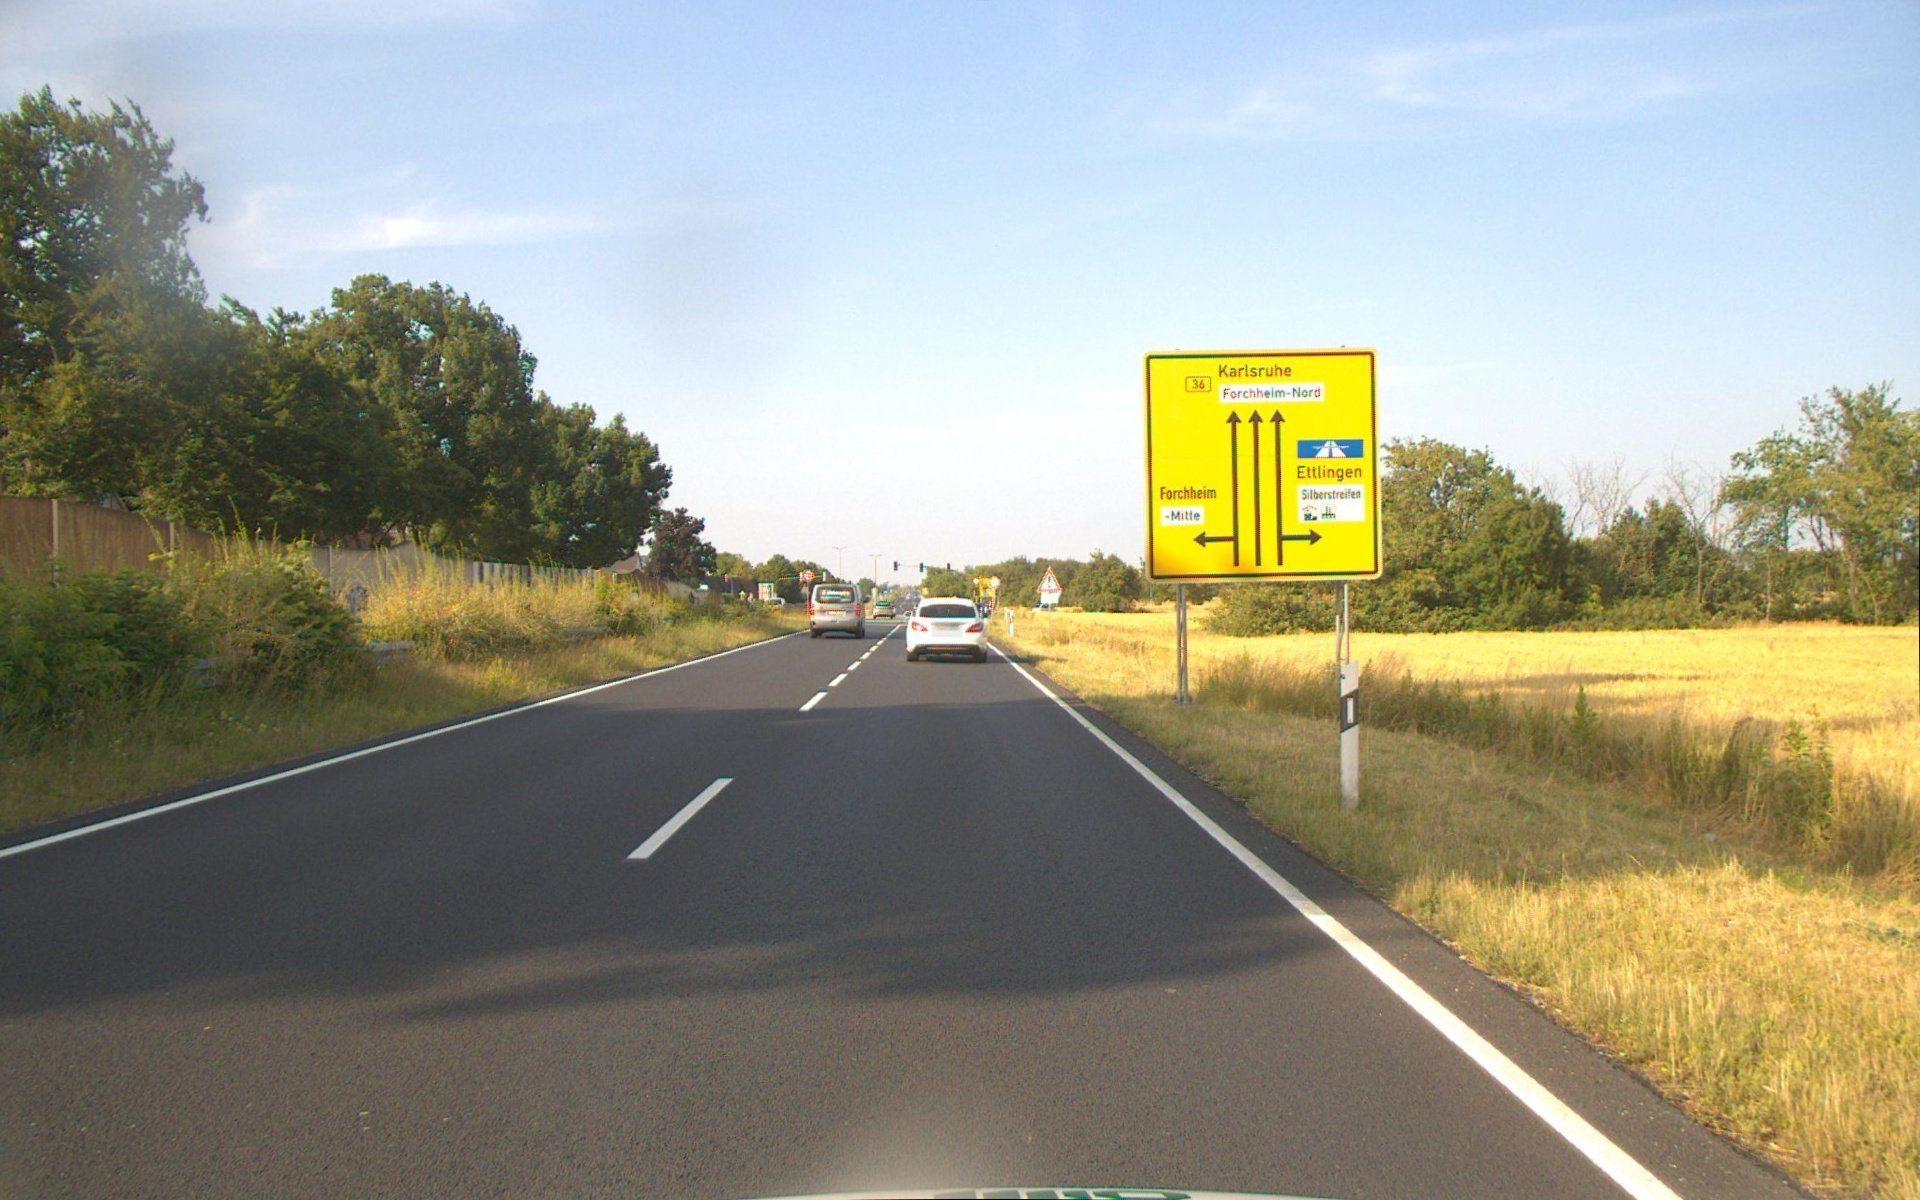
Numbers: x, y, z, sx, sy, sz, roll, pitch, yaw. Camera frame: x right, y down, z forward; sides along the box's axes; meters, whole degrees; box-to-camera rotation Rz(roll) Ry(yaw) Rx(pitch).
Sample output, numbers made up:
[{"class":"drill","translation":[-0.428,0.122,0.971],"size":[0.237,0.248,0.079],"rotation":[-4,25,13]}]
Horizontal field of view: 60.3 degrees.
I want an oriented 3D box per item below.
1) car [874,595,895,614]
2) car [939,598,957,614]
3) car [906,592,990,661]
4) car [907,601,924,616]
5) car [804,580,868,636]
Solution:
[{"class":"car","translation":[-6.332,0.371,139.272],"size":[1.682,1.518,3.583],"rotation":[1,0,-1]},{"class":"car","translation":[-1.168,0.609,162.596],"size":[1.718,1.543,3.999],"rotation":[-1,0,-1]},{"class":"car","translation":[-0.326,0.584,38.411],"size":[1.856,1.535,3.998],"rotation":[0,0,-2]},{"class":"car","translation":[-5.380,0.995,200.655],"size":[1.801,1.713,4.000],"rotation":[1,0,1]},{"class":"car","translation":[-4.412,0.253,59.489],"size":[1.984,1.925,4.957],"rotation":[1,0,-1]}]
